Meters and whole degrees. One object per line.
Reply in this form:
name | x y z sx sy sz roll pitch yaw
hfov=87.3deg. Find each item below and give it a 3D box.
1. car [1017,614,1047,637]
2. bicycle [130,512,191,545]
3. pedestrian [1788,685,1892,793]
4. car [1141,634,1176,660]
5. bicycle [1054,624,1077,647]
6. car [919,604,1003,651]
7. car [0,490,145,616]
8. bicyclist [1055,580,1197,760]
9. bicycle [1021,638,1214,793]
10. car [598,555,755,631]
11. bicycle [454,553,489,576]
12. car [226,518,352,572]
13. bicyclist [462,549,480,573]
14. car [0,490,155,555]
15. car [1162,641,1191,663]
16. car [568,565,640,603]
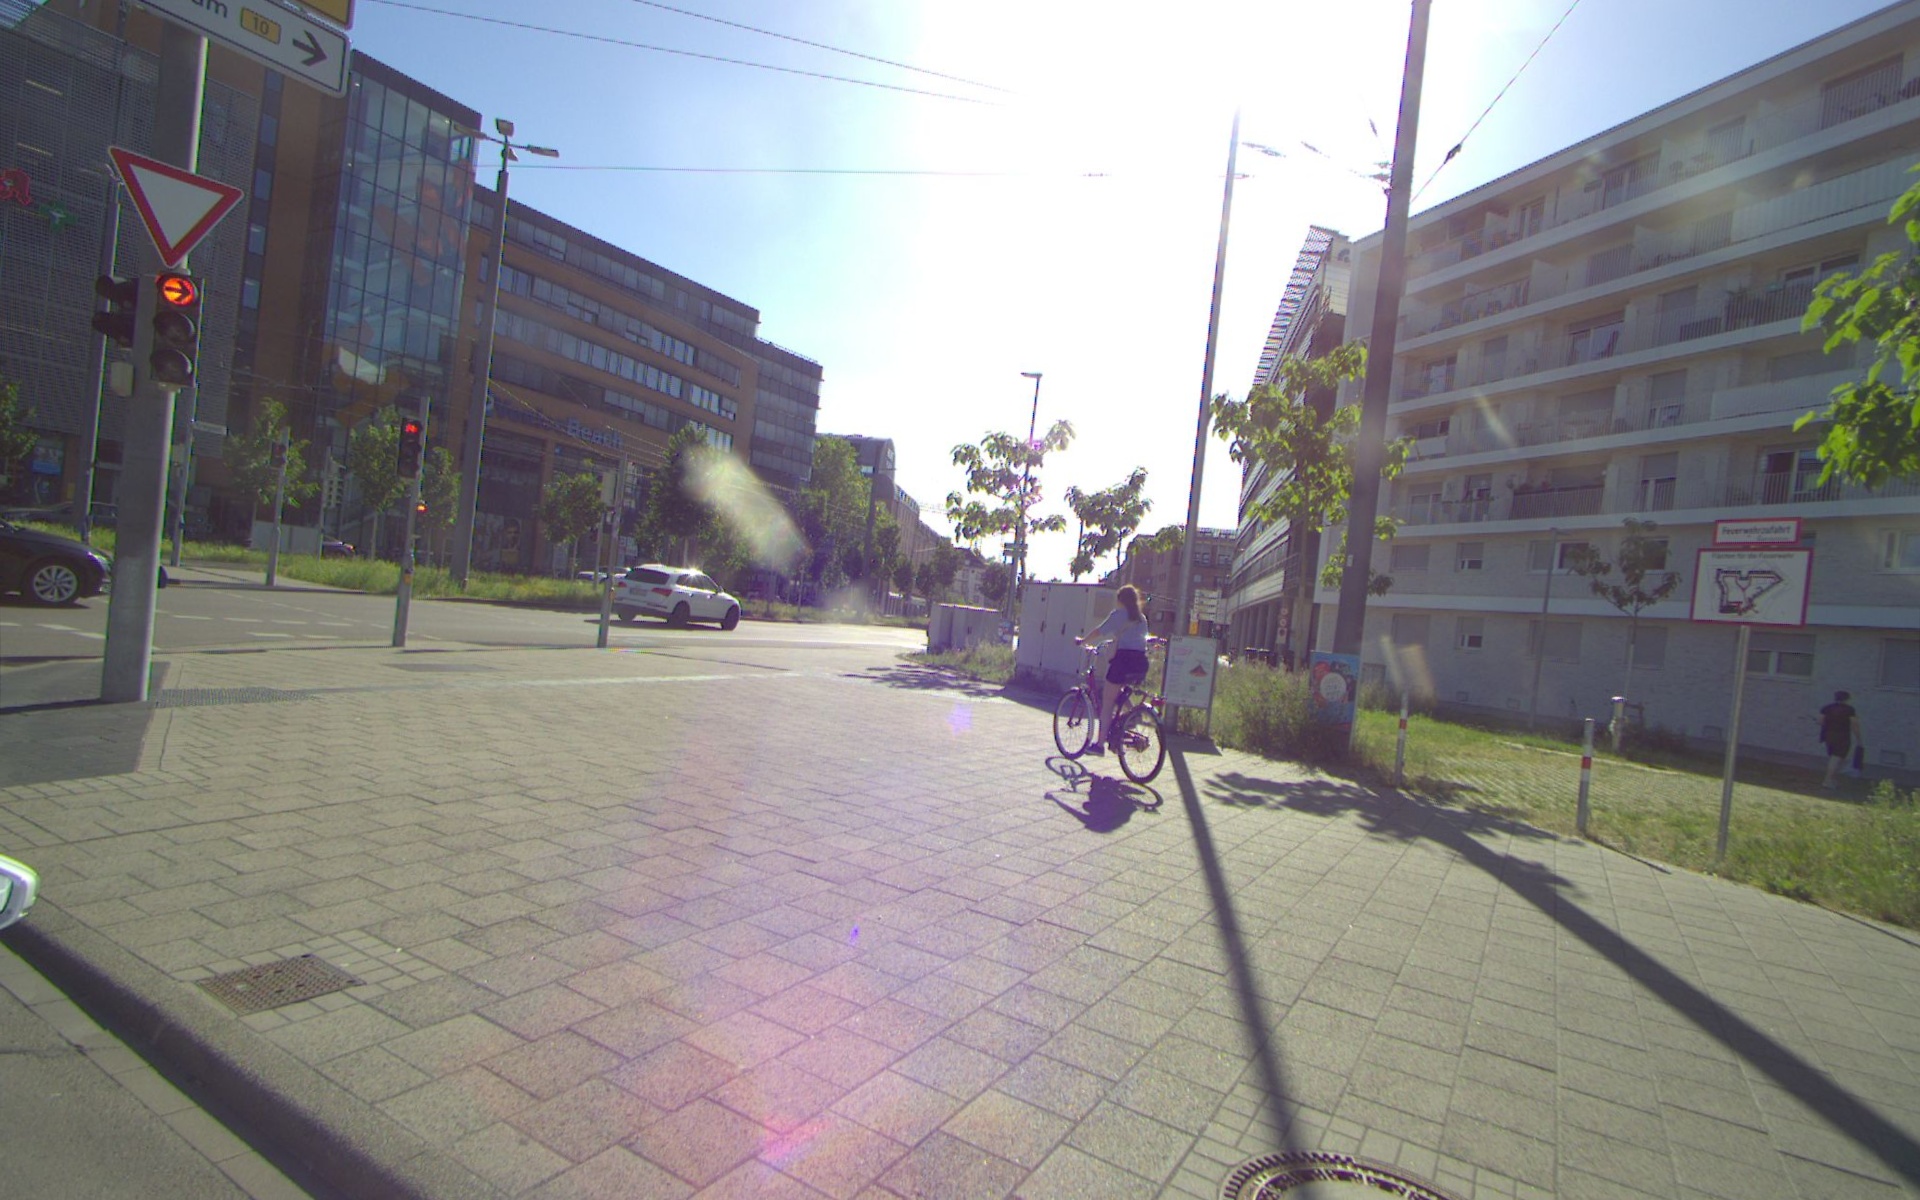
car | 6.083 2.134 84.434 1.615 1.665 3.704 7 -1 15
bicycle | -40.517 -3.613 51.032 0.595 1.310 2.260 7 -2 30
pedestrian | 15.641 2.466 17.894 0.970 1.719 0.842 6 2 -16
car | 13.988 3.327 70.699 1.677 1.515 4.281 7 -2 19
bicycle | 5.937 2.000 56.390 0.571 1.150 1.907 7 -2 25
car | 0.115 1.211 42.373 1.676 1.591 4.871 7 -1 23
car | -13.231 -0.810 12.274 1.801 1.479 4.681 7 -1 27
bicyclist | 1.444 0.596 8.886 0.661 1.454 0.934 6 0 -28
bicycle | 1.348 0.985 9.023 0.661 1.086 1.807 6 1 -28
car | -8.016 -0.120 28.972 1.901 1.728 4.685 7 0 18
bicycle | -31.133 -2.237 64.150 0.559 1.232 1.859 9 1 31
car | -30.650 -2.489 46.087 1.810 1.600 4.303 6 -5 31
bicyclist | -31.138 -2.480 64.072 0.556 1.404 0.754 9 2 31
car | -32.068 -2.770 36.326 1.810 1.484 4.161 6 -5 30
car | 17.918 4.317 83.262 1.677 1.515 4.281 7 -2 19
car | -22.488 -1.003 63.684 1.807 1.885 4.342 6 -1 20
